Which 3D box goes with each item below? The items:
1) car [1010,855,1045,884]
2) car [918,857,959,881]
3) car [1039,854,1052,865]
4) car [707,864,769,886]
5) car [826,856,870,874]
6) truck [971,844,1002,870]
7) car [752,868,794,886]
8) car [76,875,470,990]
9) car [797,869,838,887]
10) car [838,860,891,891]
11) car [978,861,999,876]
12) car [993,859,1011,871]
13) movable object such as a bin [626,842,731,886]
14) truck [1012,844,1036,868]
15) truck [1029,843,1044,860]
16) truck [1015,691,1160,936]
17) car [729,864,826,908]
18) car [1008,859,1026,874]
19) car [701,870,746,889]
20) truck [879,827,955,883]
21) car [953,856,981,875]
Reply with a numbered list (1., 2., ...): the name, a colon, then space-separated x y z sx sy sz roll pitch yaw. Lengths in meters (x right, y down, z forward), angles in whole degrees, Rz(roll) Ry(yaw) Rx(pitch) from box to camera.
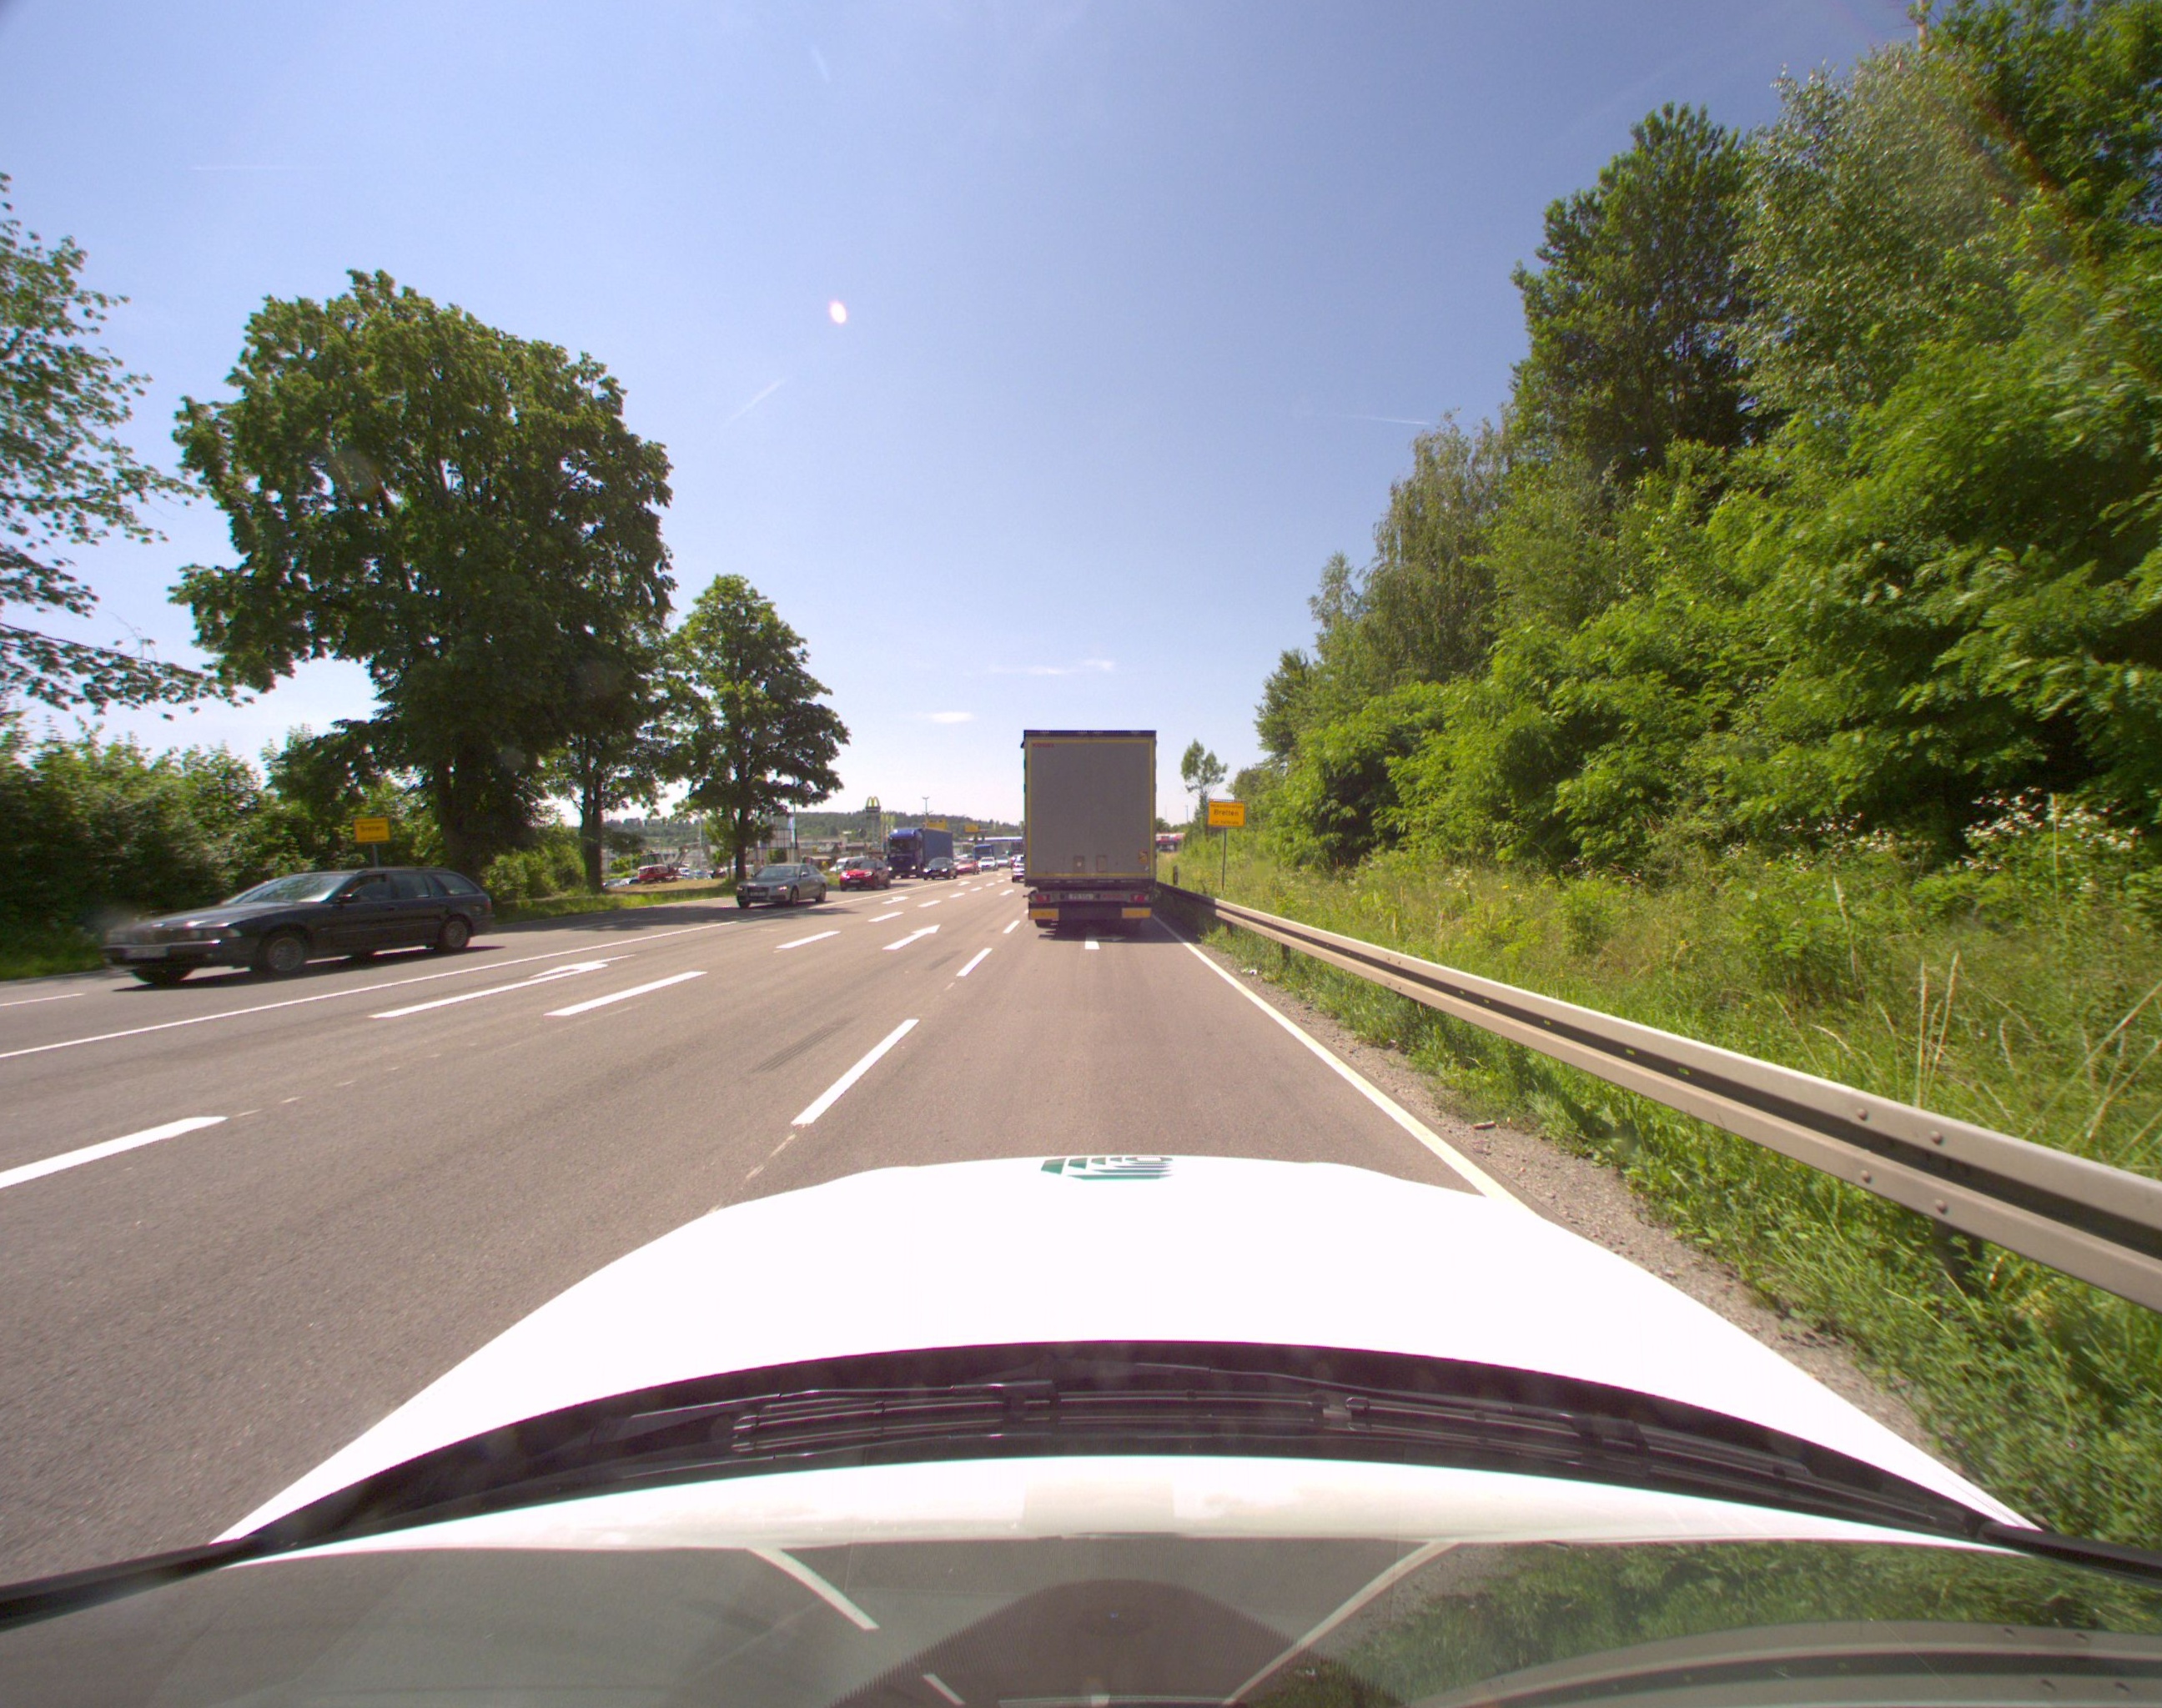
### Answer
1. car: -3.264 0.924 50.508 1.798 1.670 4.293 0 0 2
2. car: -9.937 1.024 57.289 1.912 1.480 4.686 -4 -1 0
3. car: -6.994 1.107 161.379 2.483 2.014 5.525 0 -1 -1
4. car: -33.345 1.989 79.385 1.974 2.014 5.252 -1 -1 40
5. car: -29.548 1.438 103.482 1.974 2.183 5.226 -1 -1 35
6. truck: -12.865 0.441 112.213 2.837 3.351 11.479 -1 0 0
7. car: -29.110 2.169 76.974 3.948 1.618 1.852 -1 -1 38
8. car: -11.415 1.012 12.001 1.761 1.386 3.999 0 -1 0
9. car: -25.335 2.291 78.209 3.948 1.618 1.852 -1 -1 38
10. car: -10.795 1.024 40.915 1.637 1.438 4.014 -1 0 -1
11. car: -9.628 1.501 85.245 1.695 1.415 4.560 -1 0 -1
12. car: -9.848 1.396 101.715 1.755 1.428 4.180 -1 0 1
13. movable object such as a bin: -32.210 0.768 65.370 3.013 3.298 6.834 -2 0 41
14. truck: -10.864 0.367 157.004 3.135 4.349 17.540 -1 0 0
15. truck: -10.610 -0.591 195.240 2.926 3.950 14.230 -1 0 -1
16. truck: 0.386 -0.757 23.754 2.745 4.639 16.662 0 0 2
17. car: -10.108 1.041 27.474 1.761 1.386 3.999 0 -1 0
18. car: -7.216 1.402 91.969 1.789 1.627 4.366 -1 0 -2
19. car: -32.009 2.289 72.845 3.948 1.651 2.013 -1 -1 38
20. truck: -13.787 0.116 70.441 2.958 4.177 16.575 -1 0 1
21. car: -9.796 0.980 70.458 1.761 1.445 3.775 -5 0 0
